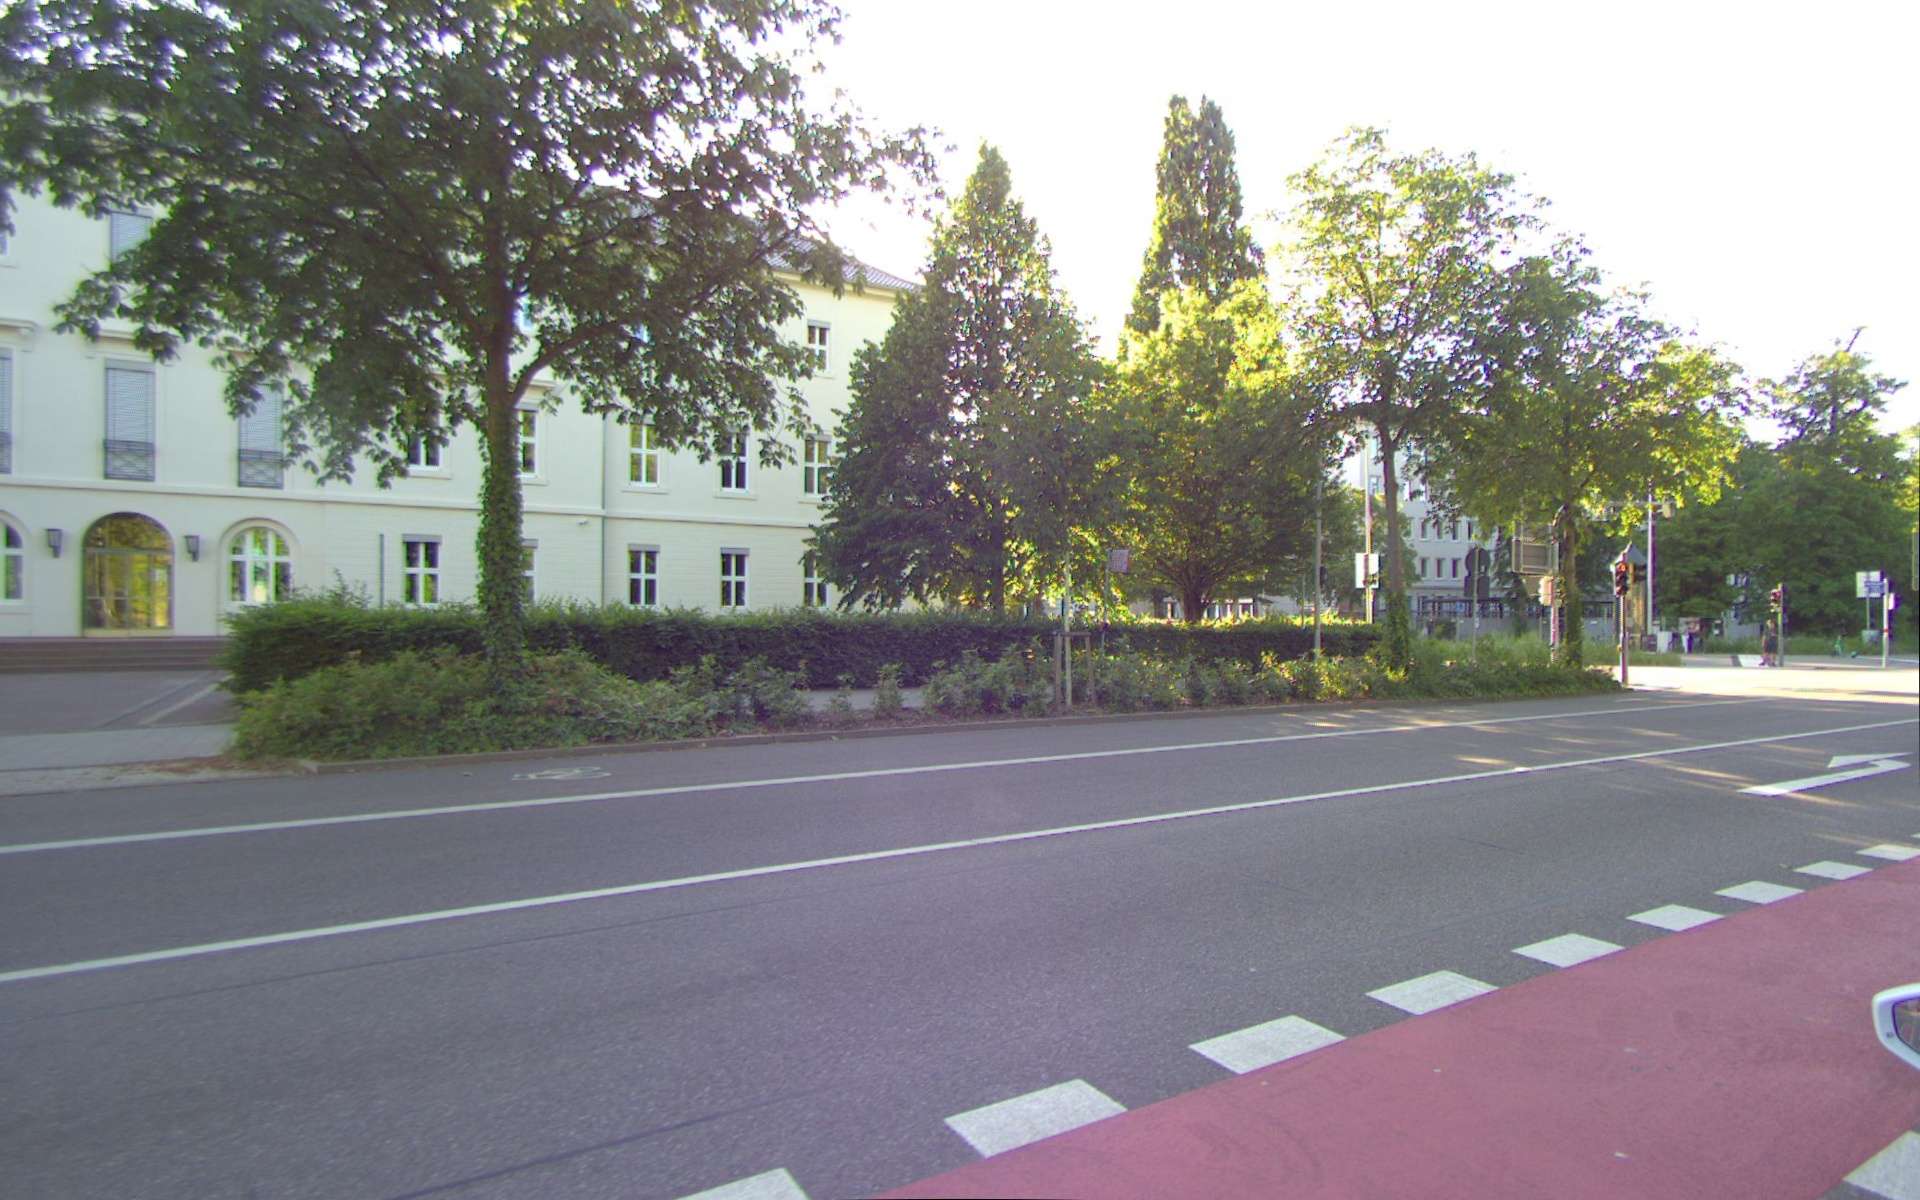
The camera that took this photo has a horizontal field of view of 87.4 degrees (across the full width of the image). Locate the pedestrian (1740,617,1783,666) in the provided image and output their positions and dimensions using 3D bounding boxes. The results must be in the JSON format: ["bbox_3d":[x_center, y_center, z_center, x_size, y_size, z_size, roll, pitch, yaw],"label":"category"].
[{"bbox_3d":[34.386,1.763,43.088,1.175,2.040,0.992,1,0,-25],"label":"pedestrian"}]

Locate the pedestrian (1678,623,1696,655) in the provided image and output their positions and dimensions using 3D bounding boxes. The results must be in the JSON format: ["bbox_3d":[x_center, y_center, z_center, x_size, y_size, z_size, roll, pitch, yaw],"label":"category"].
[{"bbox_3d":[37.069,2.004,51.233,0.442,1.602,0.624,1,0,-39],"label":"pedestrian"}]

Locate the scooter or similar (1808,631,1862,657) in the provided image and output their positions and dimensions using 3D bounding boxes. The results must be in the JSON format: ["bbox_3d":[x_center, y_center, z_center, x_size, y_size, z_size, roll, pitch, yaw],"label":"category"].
[{"bbox_3d":[41.654,2.086,47.812,1.882,1.139,0.713,1,0,3],"label":"scooter or similar"}]

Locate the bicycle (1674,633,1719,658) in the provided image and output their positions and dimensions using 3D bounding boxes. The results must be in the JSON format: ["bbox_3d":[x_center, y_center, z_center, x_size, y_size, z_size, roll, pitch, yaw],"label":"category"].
[{"bbox_3d":[37.610,2.309,51.294,0.288,1.163,1.849,1,0,-36],"label":"bicycle"}]

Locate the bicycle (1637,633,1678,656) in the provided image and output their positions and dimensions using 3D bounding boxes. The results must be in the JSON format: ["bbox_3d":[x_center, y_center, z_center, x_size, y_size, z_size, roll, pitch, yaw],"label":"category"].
[{"bbox_3d":[36.854,2.340,53.100,0.436,1.163,1.859,1,0,-20],"label":"bicycle"}]
